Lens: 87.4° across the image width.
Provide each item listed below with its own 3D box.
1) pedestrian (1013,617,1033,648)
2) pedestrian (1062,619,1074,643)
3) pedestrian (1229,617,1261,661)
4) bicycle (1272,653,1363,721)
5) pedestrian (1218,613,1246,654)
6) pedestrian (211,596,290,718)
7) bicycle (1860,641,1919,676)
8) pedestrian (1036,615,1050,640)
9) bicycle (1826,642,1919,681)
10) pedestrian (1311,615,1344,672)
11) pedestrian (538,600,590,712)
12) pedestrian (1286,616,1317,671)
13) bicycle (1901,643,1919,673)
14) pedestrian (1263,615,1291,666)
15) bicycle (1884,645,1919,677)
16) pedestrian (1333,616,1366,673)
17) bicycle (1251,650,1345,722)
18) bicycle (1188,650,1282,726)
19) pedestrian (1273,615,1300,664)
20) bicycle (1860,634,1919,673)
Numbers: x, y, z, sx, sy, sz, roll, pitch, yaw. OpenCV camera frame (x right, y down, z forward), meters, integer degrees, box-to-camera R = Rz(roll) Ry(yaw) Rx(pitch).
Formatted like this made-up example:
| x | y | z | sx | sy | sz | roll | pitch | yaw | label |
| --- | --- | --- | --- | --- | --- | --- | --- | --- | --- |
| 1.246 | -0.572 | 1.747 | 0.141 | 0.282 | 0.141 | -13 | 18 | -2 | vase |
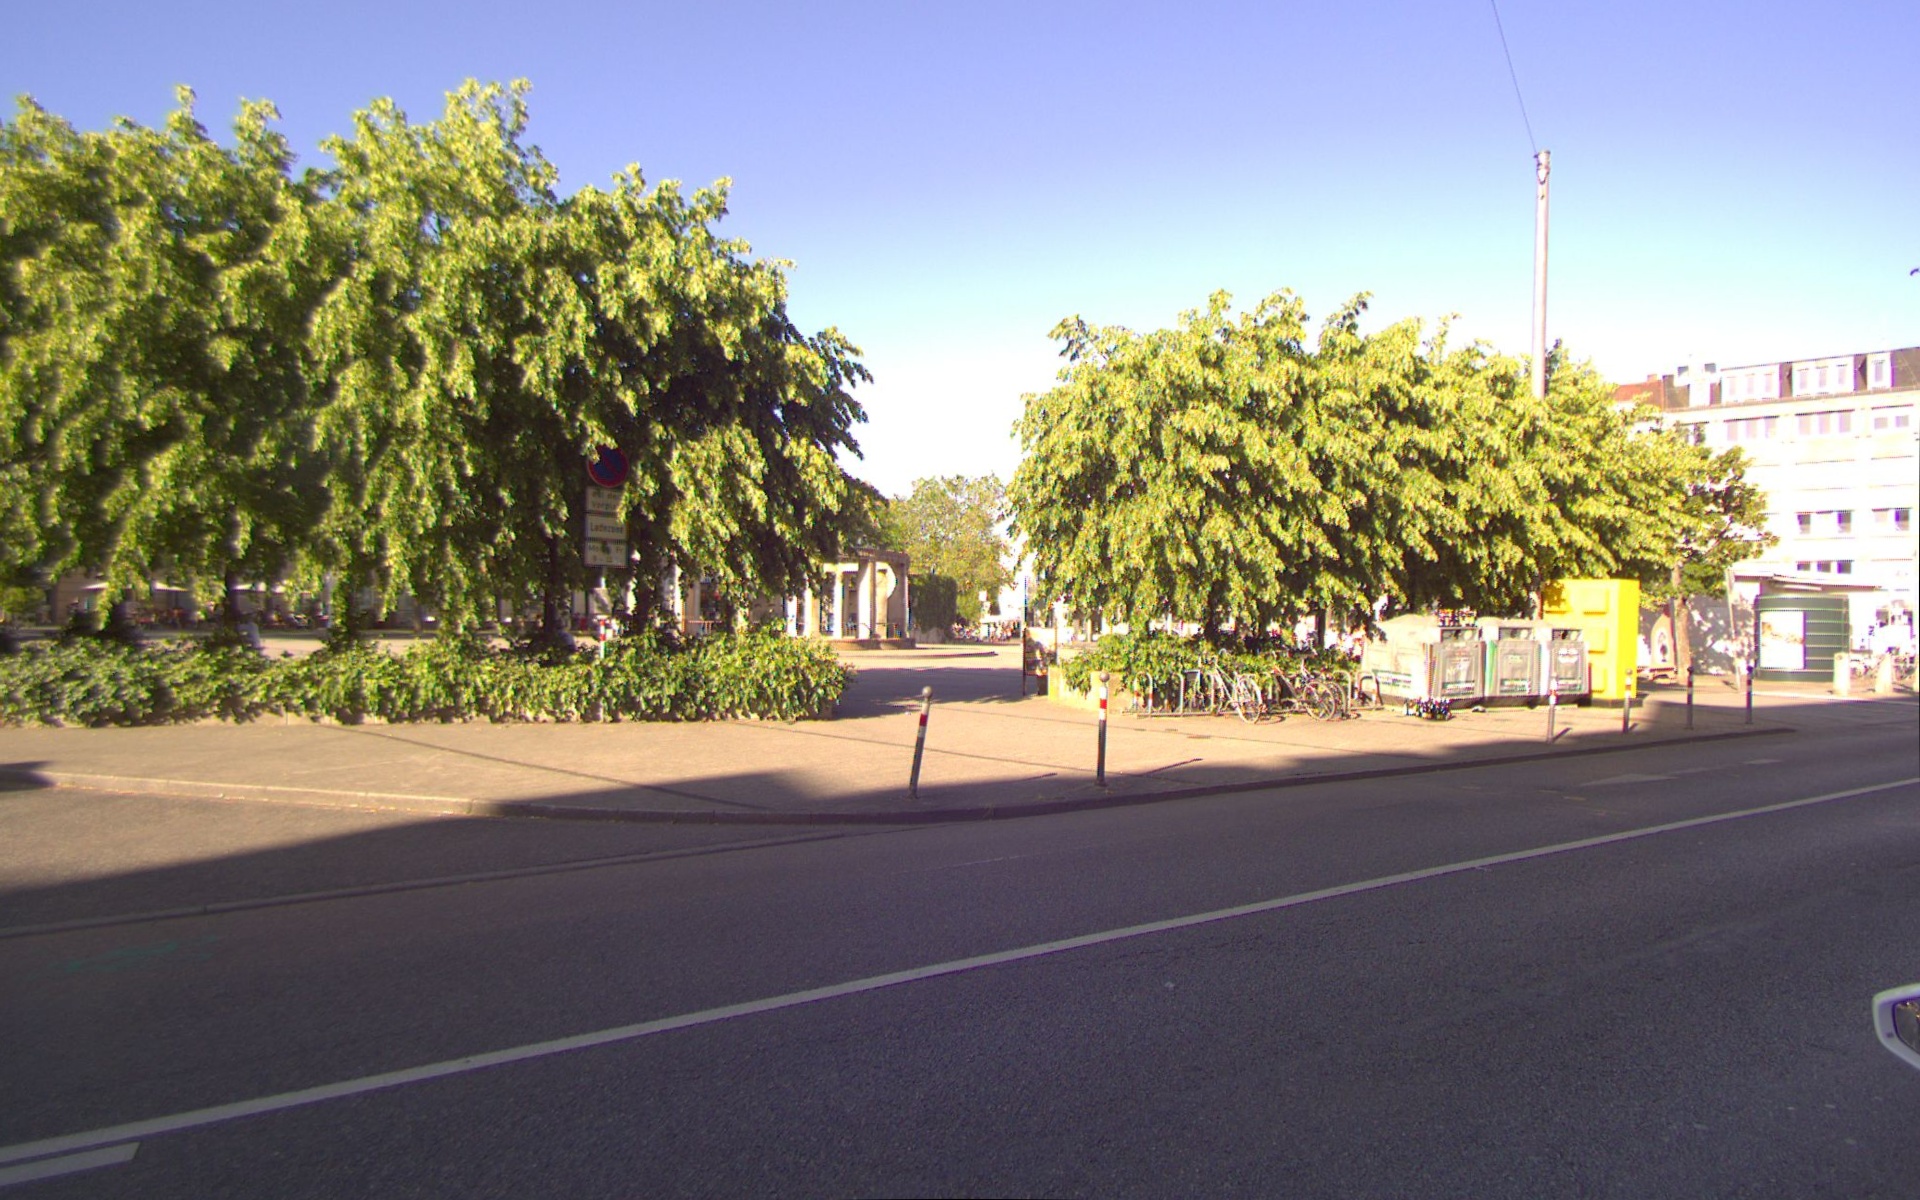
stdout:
| x | y | z | sx | sy | sz | roll | pitch | yaw | label |
| --- | --- | --- | --- | --- | --- | --- | --- | --- | --- |
| 4.285 | 2.198 | 68.326 | 0.893 | 2.040 | 0.986 | 1 | 0 | -28 | pedestrian |
| 9.557 | 2.728 | 88.600 | 0.886 | 2.040 | 1.403 | 1 | -1 | 12 | pedestrian |
| 13.645 | 1.854 | 48.049 | 0.890 | 2.040 | 1.280 | 1 | -1 | -18 | pedestrian |
| 5.827 | 1.397 | 16.438 | 0.425 | 0.971 | 1.518 | 0 | 0 | -28 | bicycle |
| 13.873 | 1.700 | 51.283 | 0.890 | 2.040 | 1.217 | 1 | -1 | -16 | pedestrian |
| -10.742 | 0.849 | 15.241 | 0.725 | 1.781 | 0.895 | 1 | -1 | -19 | pedestrian |
| 33.130 | 2.038 | 35.039 | 0.833 | 1.171 | 2.449 | 1 | -1 | -31 | bicycle |
| 6.856 | 2.300 | 83.067 | 0.887 | 2.040 | 1.401 | 1 | 0 | -6 | pedestrian |
| 30.980 | 2.060 | 33.915 | 0.833 | 1.171 | 2.493 | 1 | -1 | -31 | bicycle |
| 13.444 | 1.582 | 36.768 | 0.886 | 2.040 | 0.993 | 1 | 0 | 7 | pedestrian |
| -6.535 | 0.909 | 16.596 | 0.725 | 1.781 | 0.895 | 1 | -1 | -19 | pedestrian |
| 12.840 | 1.626 | 37.816 | 0.886 | 2.040 | 0.993 | 1 | 0 | 7 | pedestrian |
| 38.687 | 2.316 | 39.515 | 0.834 | 1.171 | 2.308 | 1 | -1 | -34 | bicycle |
| 12.981 | 1.647 | 41.141 | 0.886 | 2.040 | 0.993 | 1 | 0 | 7 | pedestrian |
| 36.763 | 2.329 | 38.036 | 0.834 | 1.171 | 2.517 | 1 | -1 | -34 | bicycle |
| 14.245 | 1.601 | 36.750 | 0.886 | 2.040 | 0.993 | 1 | 0 | 7 | pedestrian |
| 5.396 | 1.359 | 16.134 | 0.425 | 1.036 | 1.561 | 1 | -1 | -28 | bicycle |
| 4.227 | 1.326 | 15.551 | 0.425 | 1.031 | 1.590 | 1 | 0 | -28 | bicycle |
| 13.676 | 1.645 | 42.076 | 0.886 | 2.040 | 0.993 | 1 | 0 | 7 | pedestrian |
| 34.490 | 1.945 | 36.529 | 0.913 | 1.341 | 2.461 | 1 | -1 | -35 | bicycle |
